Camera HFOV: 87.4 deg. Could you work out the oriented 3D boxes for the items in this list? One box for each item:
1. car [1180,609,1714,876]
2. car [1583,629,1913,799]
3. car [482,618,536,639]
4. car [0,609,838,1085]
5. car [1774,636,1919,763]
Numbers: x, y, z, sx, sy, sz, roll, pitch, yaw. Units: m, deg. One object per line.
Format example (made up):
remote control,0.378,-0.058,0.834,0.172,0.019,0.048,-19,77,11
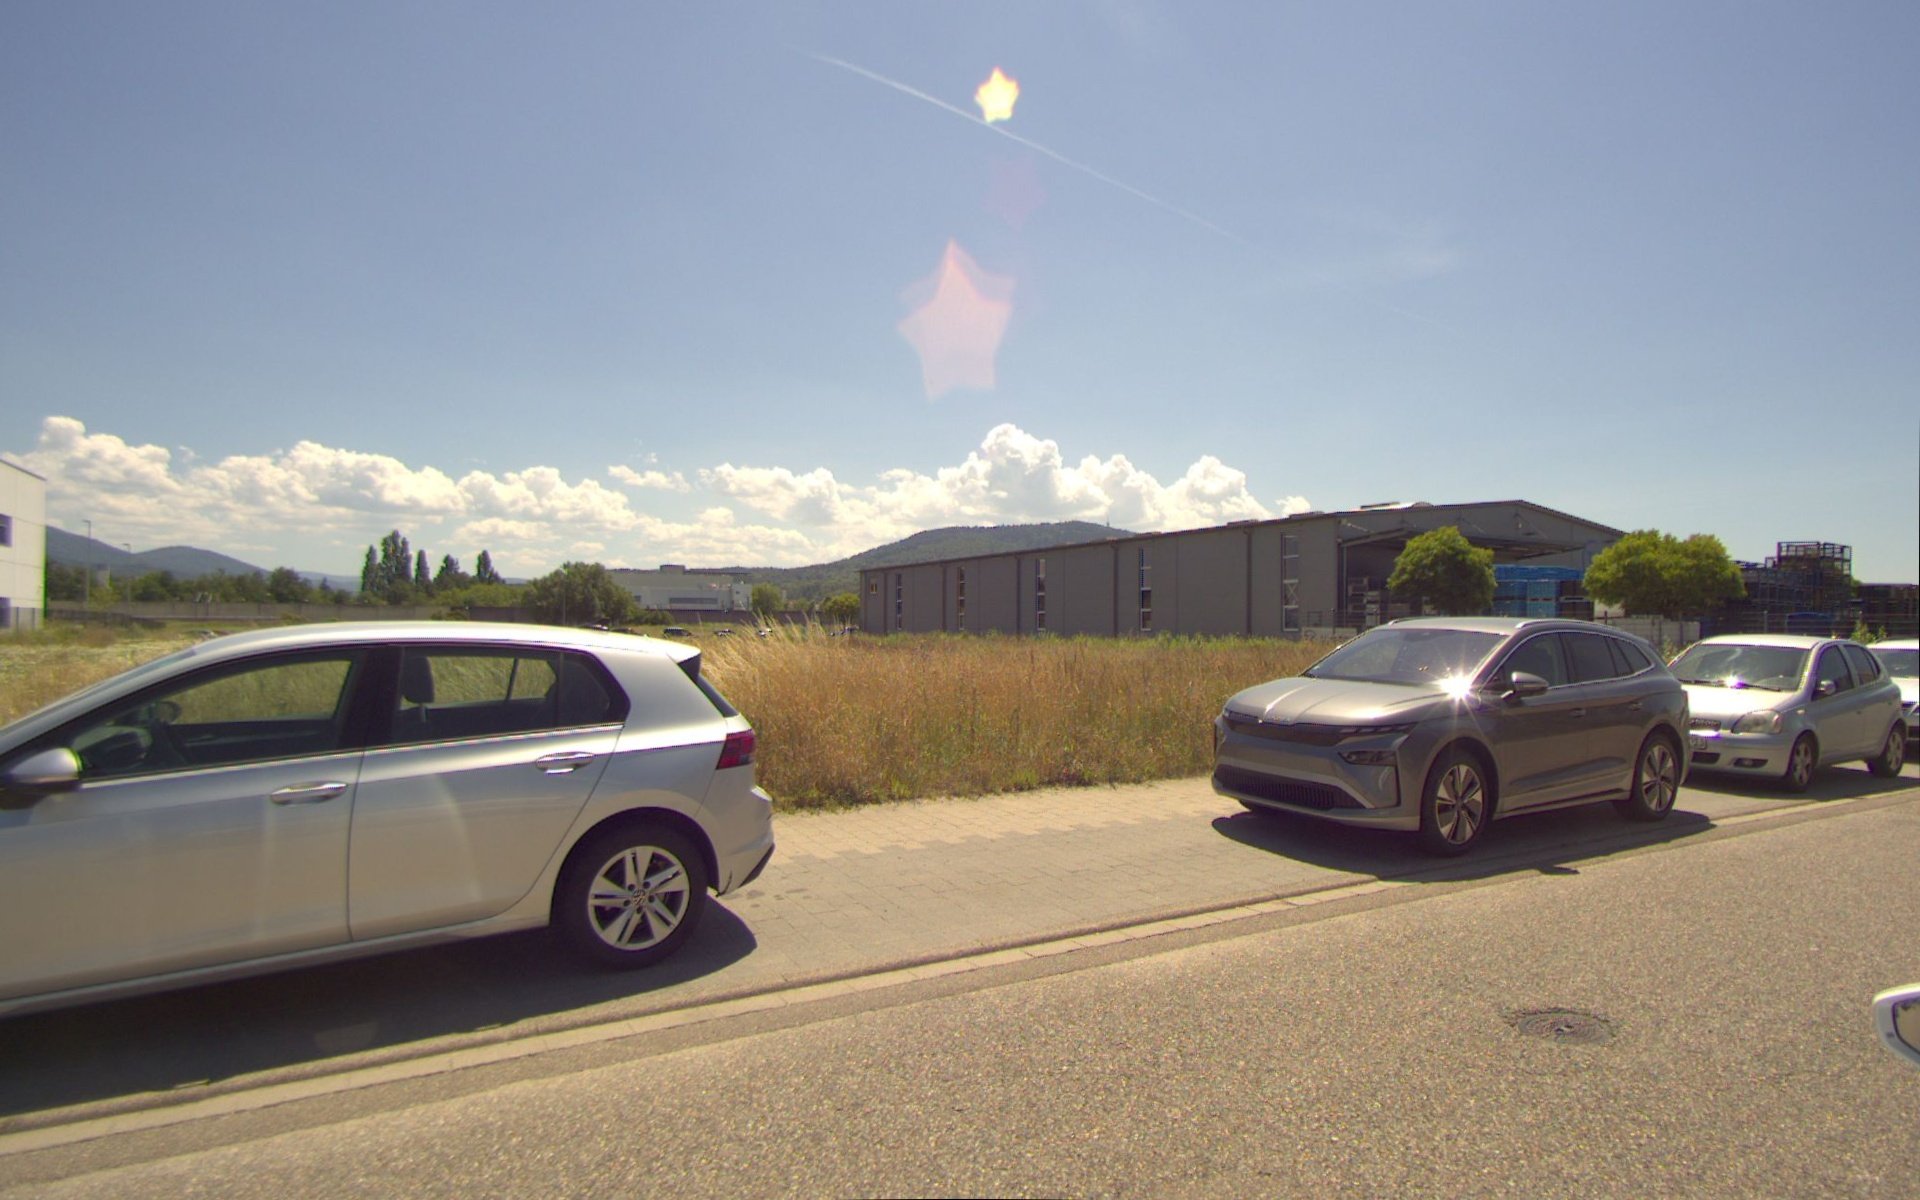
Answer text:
car,4.039,0.945,8.119,4.412,1.628,1.781,2,-1,-31
car,8.747,1.142,11.100,3.693,1.545,1.685,2,-1,-31
car,-46.750,2.978,104.172,4.864,2.040,1.984,2,-2,-31
car,-2.797,0.809,4.360,4.156,1.470,1.753,2,-1,-33
car,13.408,1.300,13.961,4.761,1.500,1.766,2,-1,-31
